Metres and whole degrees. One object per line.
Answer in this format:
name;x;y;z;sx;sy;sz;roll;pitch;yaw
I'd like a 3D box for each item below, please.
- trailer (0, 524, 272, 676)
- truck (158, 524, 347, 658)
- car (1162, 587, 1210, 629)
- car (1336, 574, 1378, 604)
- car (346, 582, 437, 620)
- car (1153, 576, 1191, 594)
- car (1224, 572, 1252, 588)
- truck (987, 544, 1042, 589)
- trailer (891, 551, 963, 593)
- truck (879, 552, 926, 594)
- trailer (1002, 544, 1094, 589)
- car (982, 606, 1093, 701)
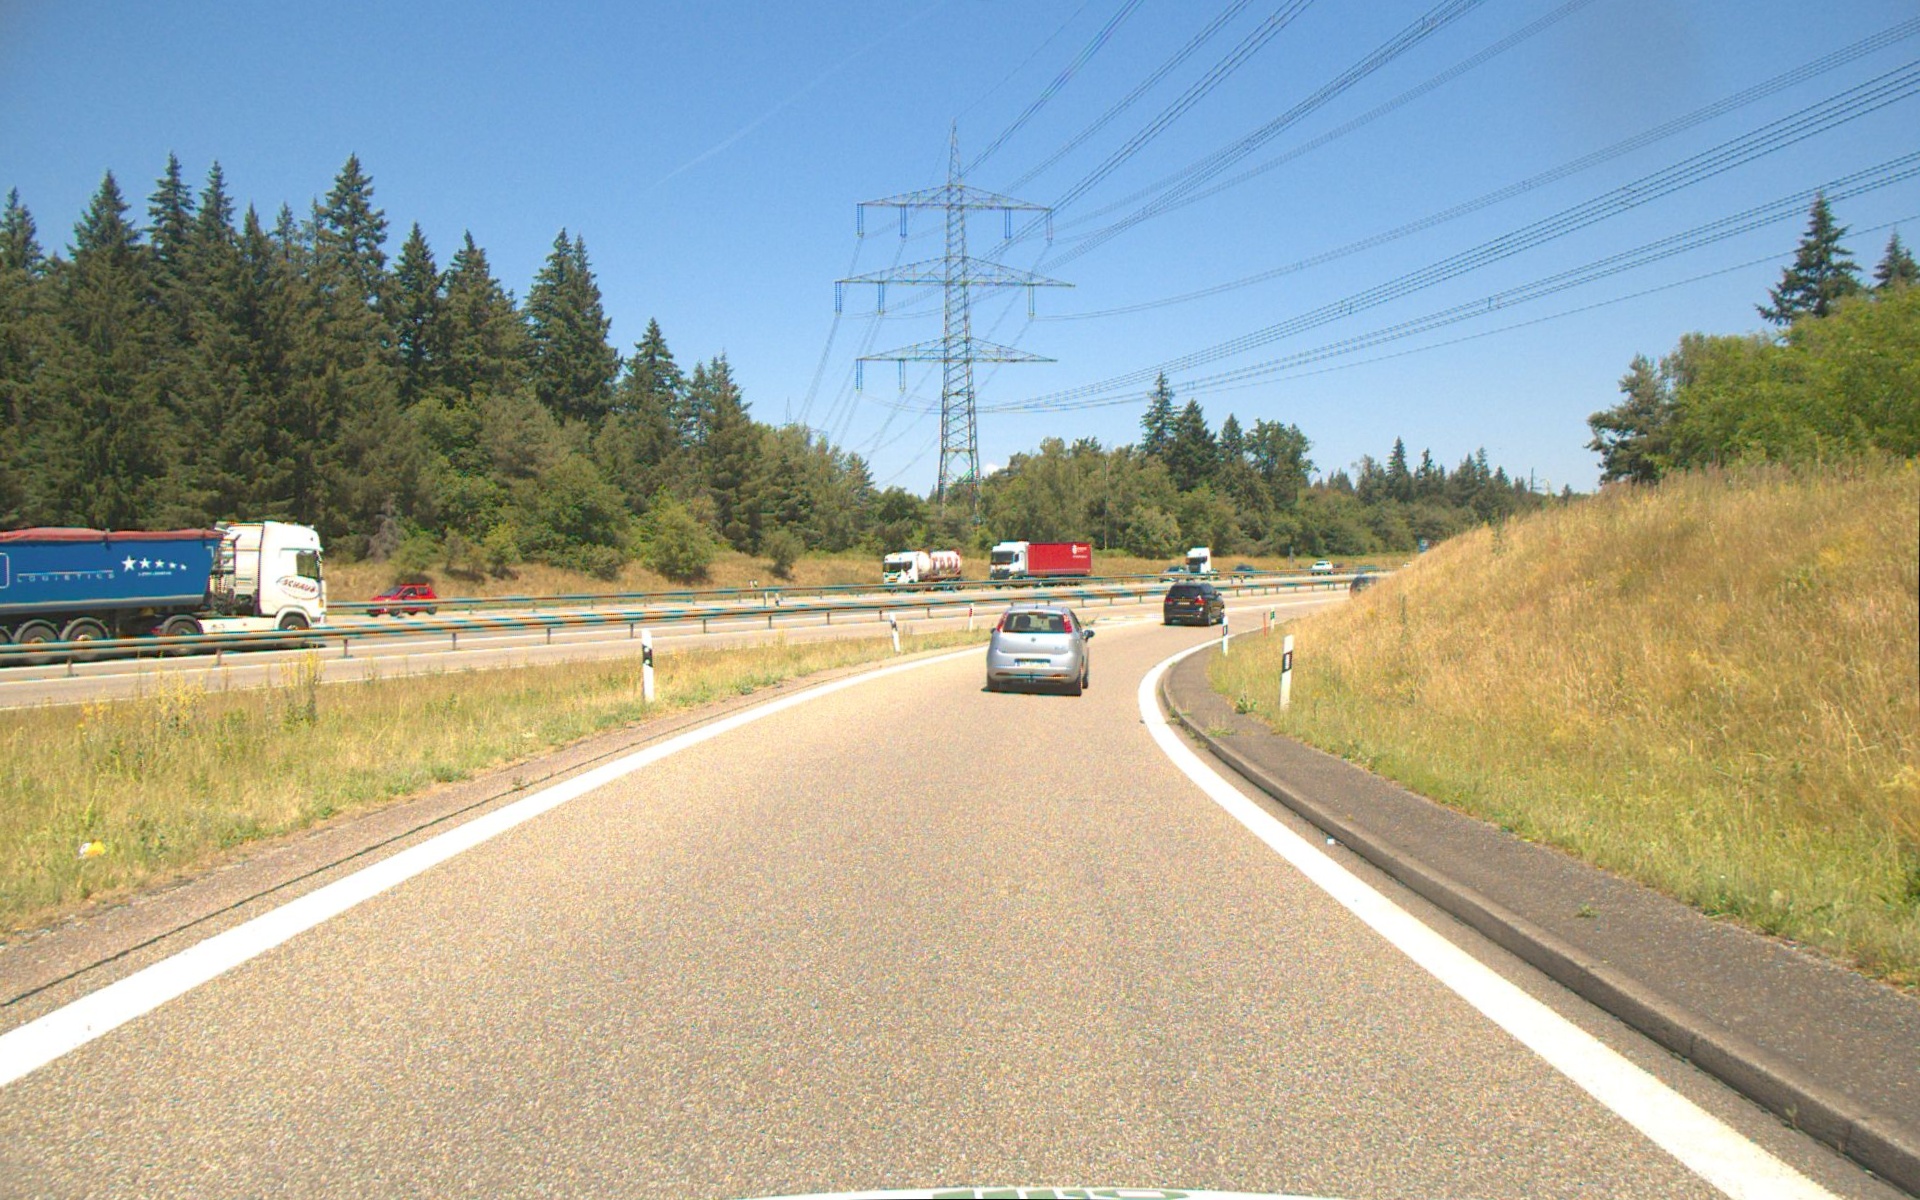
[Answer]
trailer;-24.128;-0.140;45.715;2.718;3.873;9.871;1;2;29
truck;-21.522;-0.362;50.509;2.704;3.873;4.616;1;3;28
car;9.499;0.323;69.350;1.670;1.705;3.400;0;0;14
car;25.016;-0.699;104.130;1.843;1.713;3.999;-3;0;23
car;-27.990;0.022;81.515;1.923;1.758;3.994;-2;0;29
car;20.430;-1.444;159.468;1.740;1.713;4.812;1;0;33
car;30.853;-2.236;183.377;1.740;1.713;3.680;1;0;33
truck;4.894;-3.056;147.563;2.495;3.863;5.657;0;2;31
trailer;-3.158;-2.809;162.555;2.721;3.863;8.919;0;2;31
truck;-5.500;-2.626;158.599;2.717;3.863;3.992;0;2;31
trailer;8.333;-3.172;153.404;2.495;3.863;13.714;0;2;31
car;1.419;0.893;29.140;1.670;1.507;3.400;2;0;7
